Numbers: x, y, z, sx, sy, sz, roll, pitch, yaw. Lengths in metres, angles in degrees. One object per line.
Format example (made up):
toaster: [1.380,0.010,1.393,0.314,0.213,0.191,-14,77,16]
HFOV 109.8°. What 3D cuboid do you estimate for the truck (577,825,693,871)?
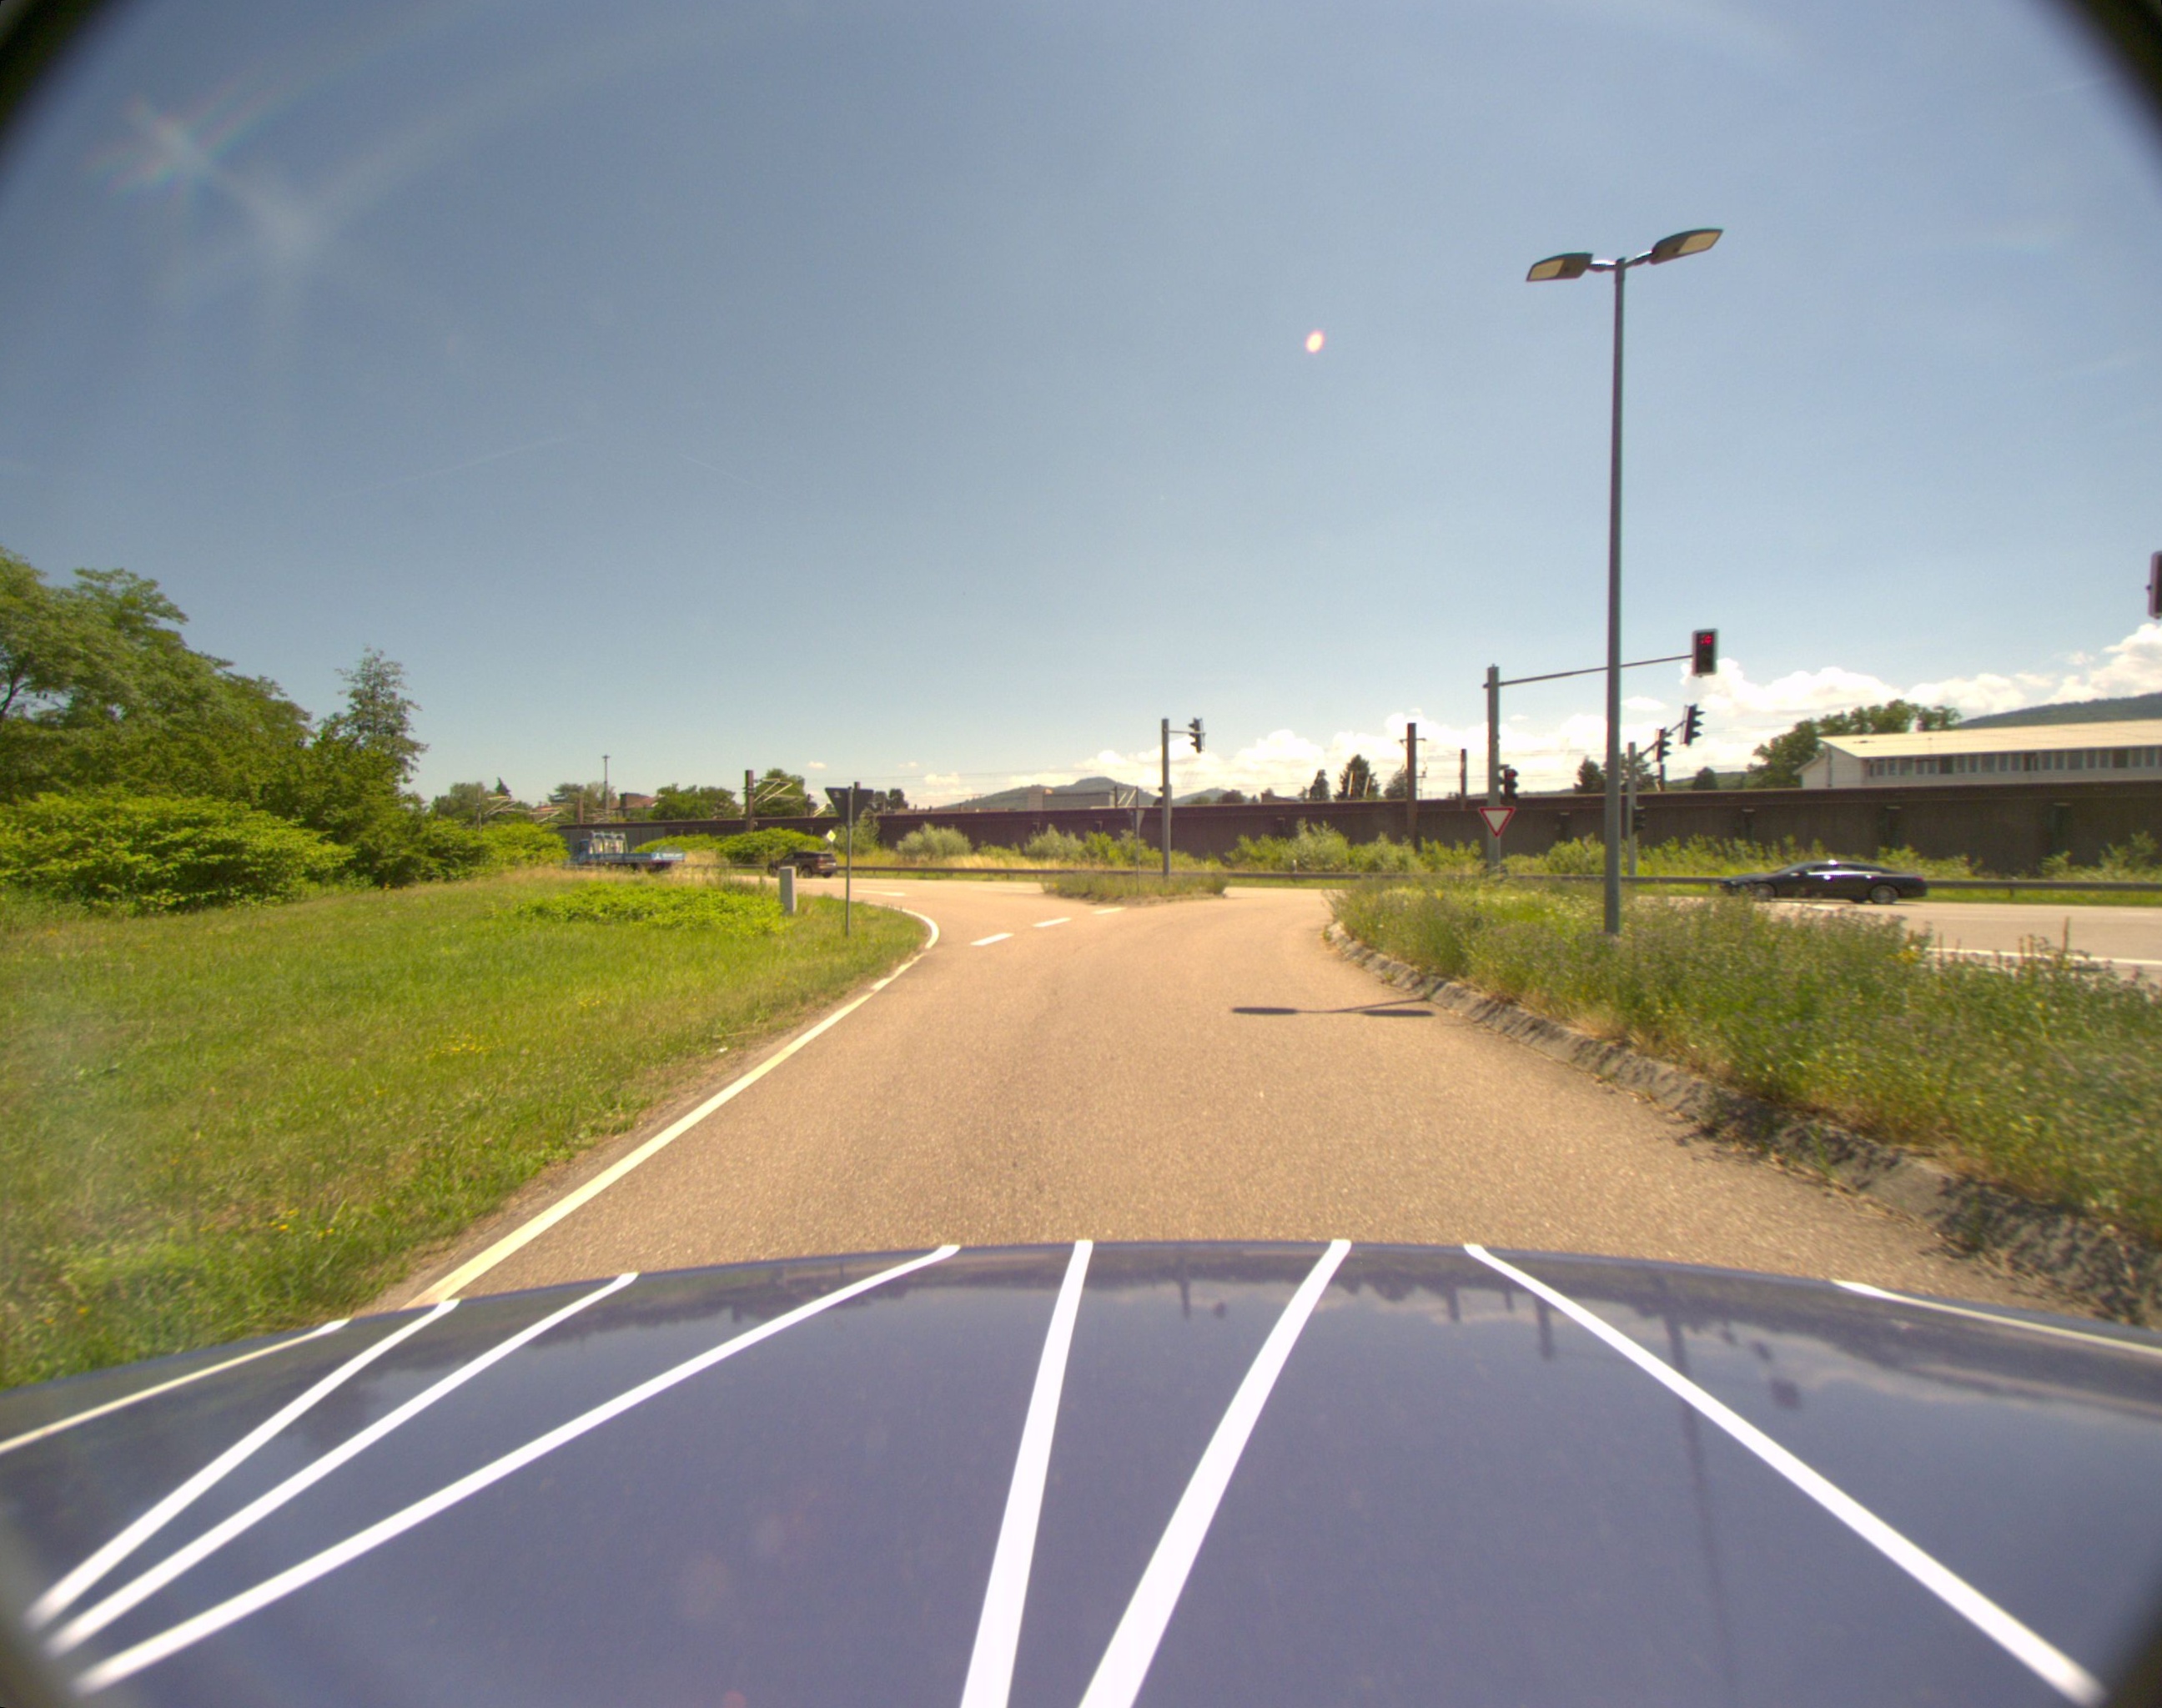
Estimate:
truck: [-32.106,-0.420,54.574,8.602,3.131,2.928,1,0,26]

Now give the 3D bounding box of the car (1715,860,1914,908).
car: [24.519,0.945,25.644,4.506,1.446,1.792,0,0,27]

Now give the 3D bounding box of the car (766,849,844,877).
car: [-17.096,0.533,47.022,4.611,1.617,1.709,1,0,24]
